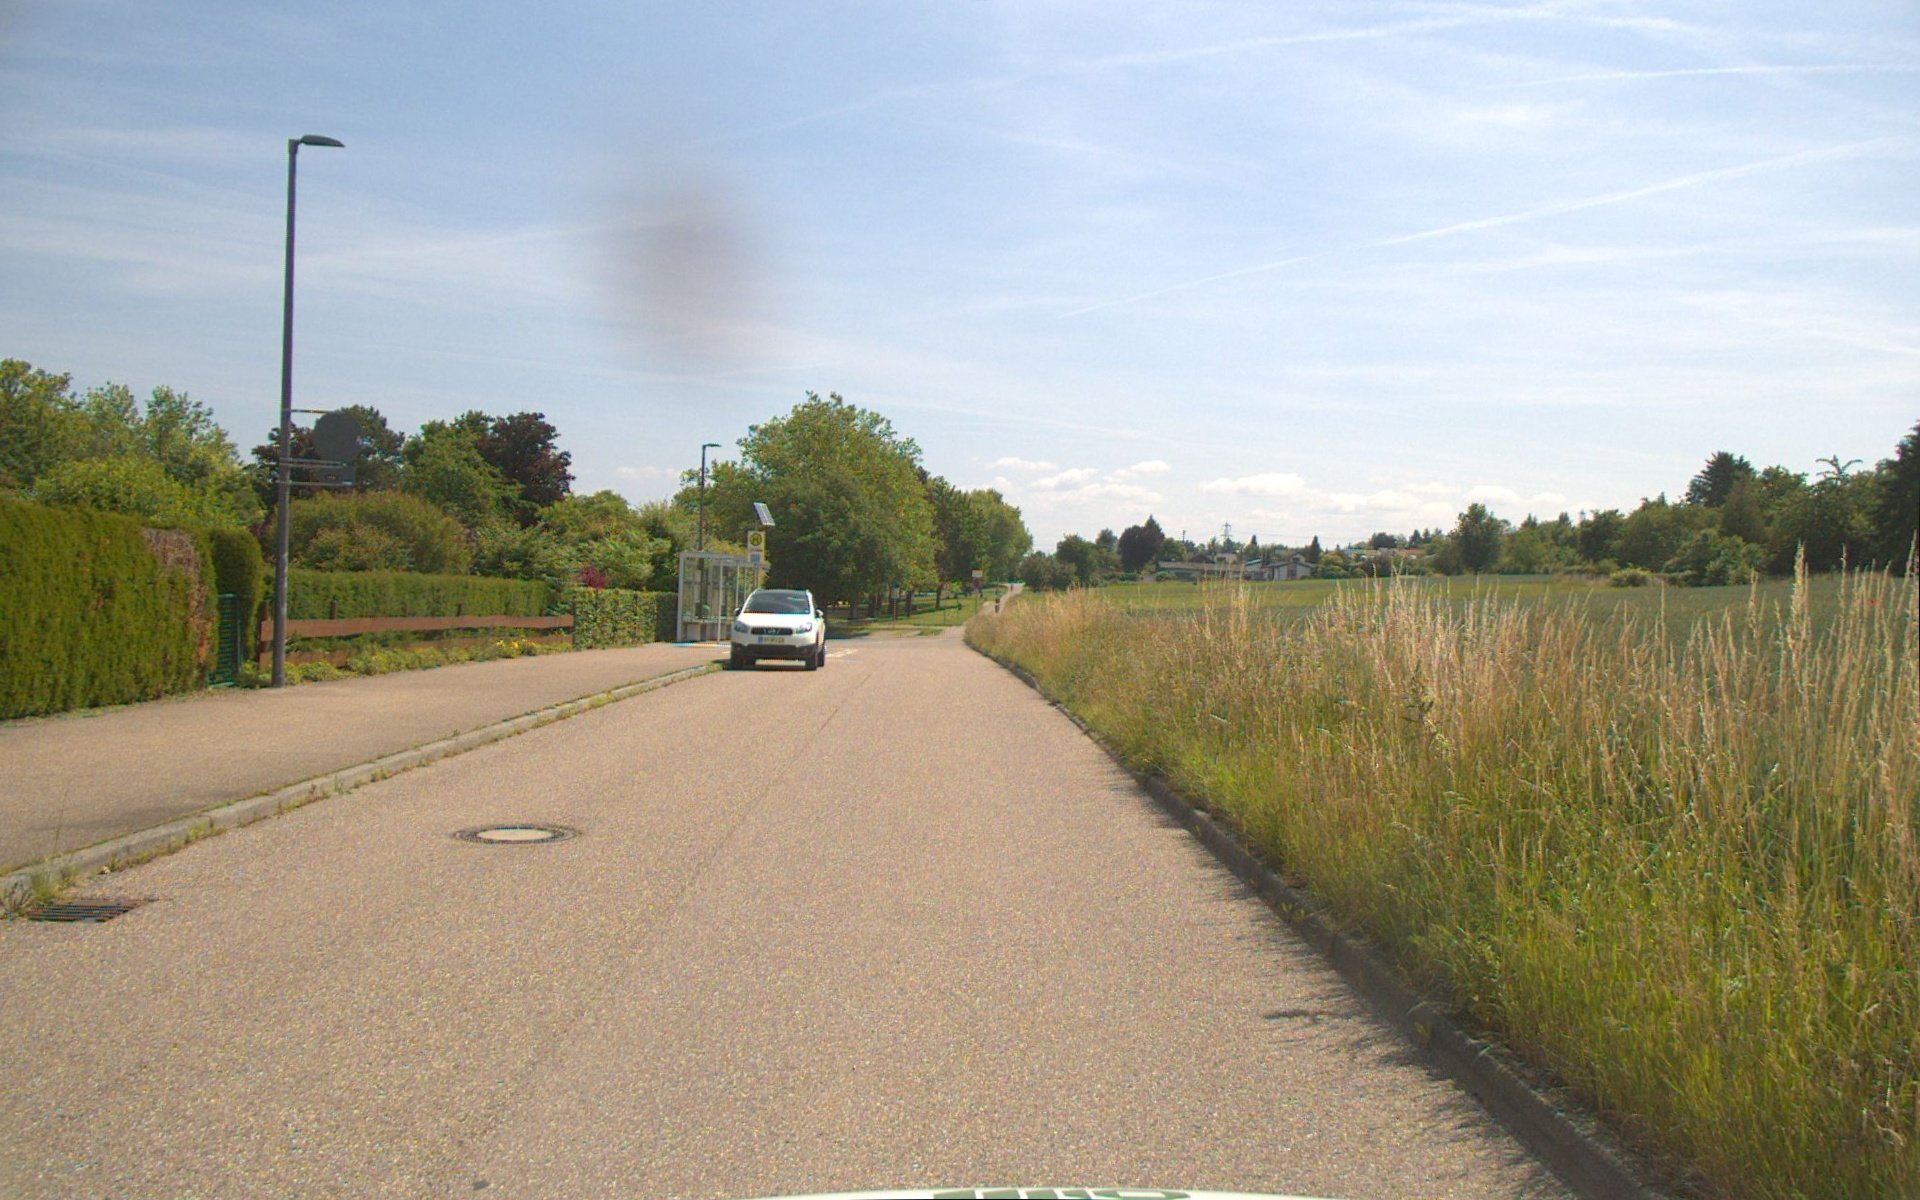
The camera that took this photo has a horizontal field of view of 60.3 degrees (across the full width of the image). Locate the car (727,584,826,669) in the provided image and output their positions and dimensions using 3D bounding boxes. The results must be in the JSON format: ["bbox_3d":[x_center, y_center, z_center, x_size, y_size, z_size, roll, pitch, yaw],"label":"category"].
[{"bbox_3d":[-3.798,0.543,34.882,1.699,1.662,4.350,1,-1,-2],"label":"car"}]
